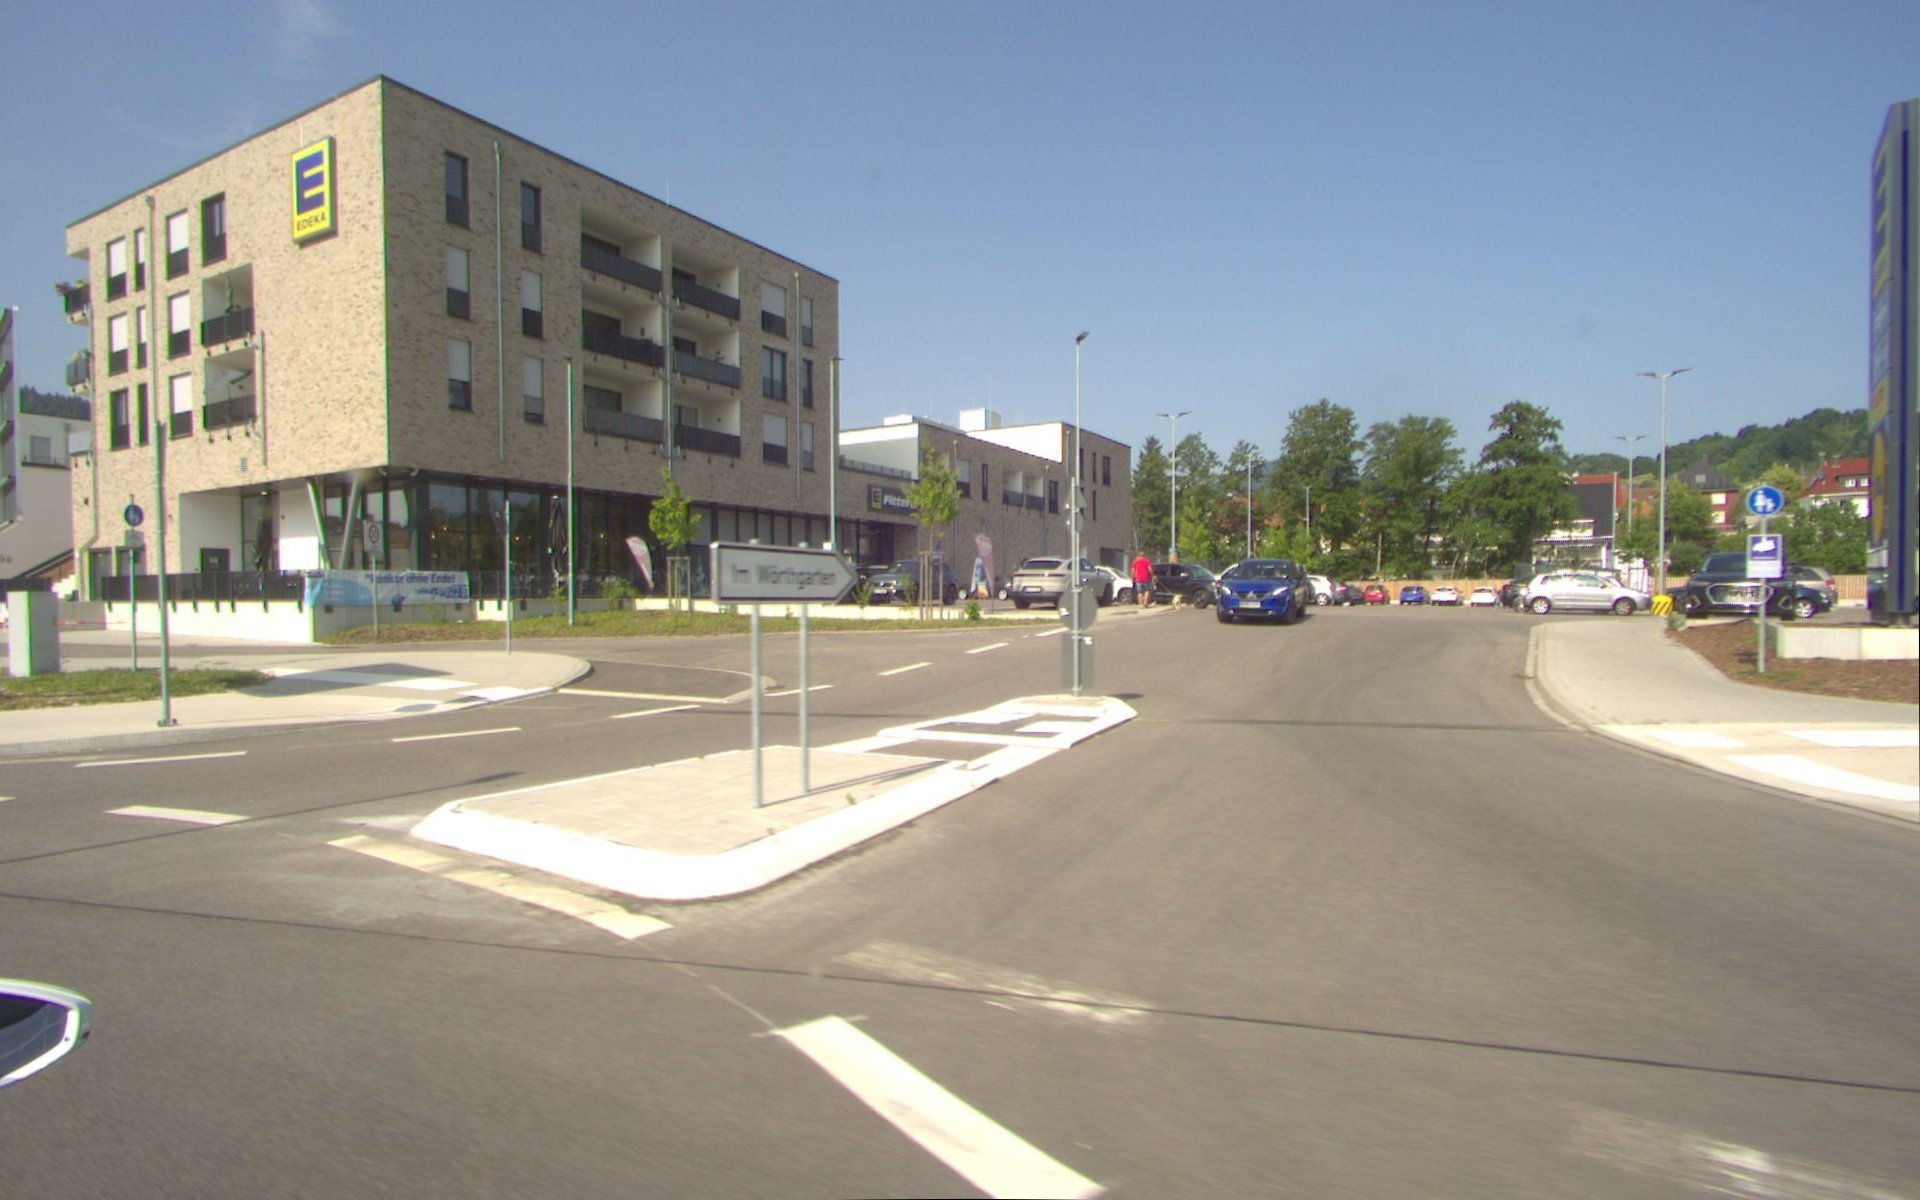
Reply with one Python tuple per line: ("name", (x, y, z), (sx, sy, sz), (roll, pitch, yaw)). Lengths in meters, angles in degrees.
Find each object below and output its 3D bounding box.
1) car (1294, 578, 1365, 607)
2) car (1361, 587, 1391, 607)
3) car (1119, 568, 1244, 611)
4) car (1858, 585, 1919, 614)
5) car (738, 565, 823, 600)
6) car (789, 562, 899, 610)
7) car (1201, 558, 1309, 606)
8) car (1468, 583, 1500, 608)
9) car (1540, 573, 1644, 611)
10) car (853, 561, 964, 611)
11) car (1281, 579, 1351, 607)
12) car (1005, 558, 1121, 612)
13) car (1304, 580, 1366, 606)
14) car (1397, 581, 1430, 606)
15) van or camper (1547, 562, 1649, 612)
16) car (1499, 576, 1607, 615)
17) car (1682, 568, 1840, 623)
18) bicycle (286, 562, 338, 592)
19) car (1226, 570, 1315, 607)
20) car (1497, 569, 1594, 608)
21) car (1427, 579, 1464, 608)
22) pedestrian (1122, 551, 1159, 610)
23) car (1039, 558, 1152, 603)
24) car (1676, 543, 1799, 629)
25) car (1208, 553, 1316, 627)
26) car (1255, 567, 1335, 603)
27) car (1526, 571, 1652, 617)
("car", (22.913, -0.445, 62.125), (3.937, 1.696, 1.993), (0, -2, 28))
("car", (33.708, -0.225, 81.098), (1.623, 1.448, 3.604), (0, -2, 34))
("car", (7.849, -0.391, 35.739), (1.625, 1.412, 4.190), (-3, 3, -42))
("car", (56.557, 0.003, 61.035), (1.735, 1.594, 3.776), (1, -2, 26))
("car", (-7.559, -0.735, 42.123), (3.278, 1.368, 1.487), (1, -2, 25))
("car", (-4.233, -0.571, 37.183), (1.829, 1.577, 4.438), (3, 4, 29))
("car", (13.558, -0.829, 46.018), (4.567, 2.039, 1.996), (1, -2, 22))
("car", (39.467, -0.289, 75.429), (1.711, 1.683, 3.979), (0, -2, 34))
("car", (26.166, -0.295, 41.524), (3.581, 1.464, 1.518), (0, -2, 34))
("car", (-1.732, -0.558, 35.220), (1.829, 1.577, 4.438), (3, 4, 29))
("car", (20.434, -0.398, 57.472), (3.747, 1.490, 1.769), (1, -2, 22))
("car", (3.432, -0.539, 32.565), (1.830, 1.577, 4.794), (3, 4, 31))
("car", (26.401, -0.492, 70.473), (3.934, 1.696, 1.784), (1, -2, 25))
("car", (35.712, -0.491, 78.849), (1.743, 1.839, 3.979), (0, -2, 34))
("van or camper", (39.291, -0.786, 61.810), (5.210, 2.884, 2.284), (0, -2, 32))
("car", (22.142, -0.160, 37.514), (3.310, 1.392, 1.521), (1, 0, 25))
("car", (25.343, -0.120, 31.859), (3.733, 1.594, 1.755), (0, -2, 33))
("bicycle", (-24.427, -0.863, 37.741), (2.211, 1.058, 0.691), (0, -2, 31))
("car", (14.868, -0.563, 47.956), (3.931, 1.661, 1.869), (1, -2, 22))
("car", (32.924, -0.625, 56.364), (4.580, 2.001, 1.991), (0, -2, 32))
("car", (37.334, -0.491, 76.961), (1.972, 2.039, 3.979), (0, -2, 34))
("pedestrian", (5.545, -0.594, 30.832), (0.864, 1.763, 0.757), (2, -1, -13))
("car", (5.972, -0.837, 44.236), (4.511, 1.905, 1.990), (0, 0, 31))
("car", (16.715, -0.210, 21.637), (1.898, 1.549, 4.830), (0, -2, 37))
("car", (8.069, -0.333, 26.469), (1.858, 1.687, 4.330), (0, 4, 29))
("car", (17.764, -0.792, 53.112), (3.931, 1.763, 1.931), (1, -2, 22))
("car", (21.539, -0.204, 34.380), (3.581, 1.464, 1.518), (0, -2, 34))
